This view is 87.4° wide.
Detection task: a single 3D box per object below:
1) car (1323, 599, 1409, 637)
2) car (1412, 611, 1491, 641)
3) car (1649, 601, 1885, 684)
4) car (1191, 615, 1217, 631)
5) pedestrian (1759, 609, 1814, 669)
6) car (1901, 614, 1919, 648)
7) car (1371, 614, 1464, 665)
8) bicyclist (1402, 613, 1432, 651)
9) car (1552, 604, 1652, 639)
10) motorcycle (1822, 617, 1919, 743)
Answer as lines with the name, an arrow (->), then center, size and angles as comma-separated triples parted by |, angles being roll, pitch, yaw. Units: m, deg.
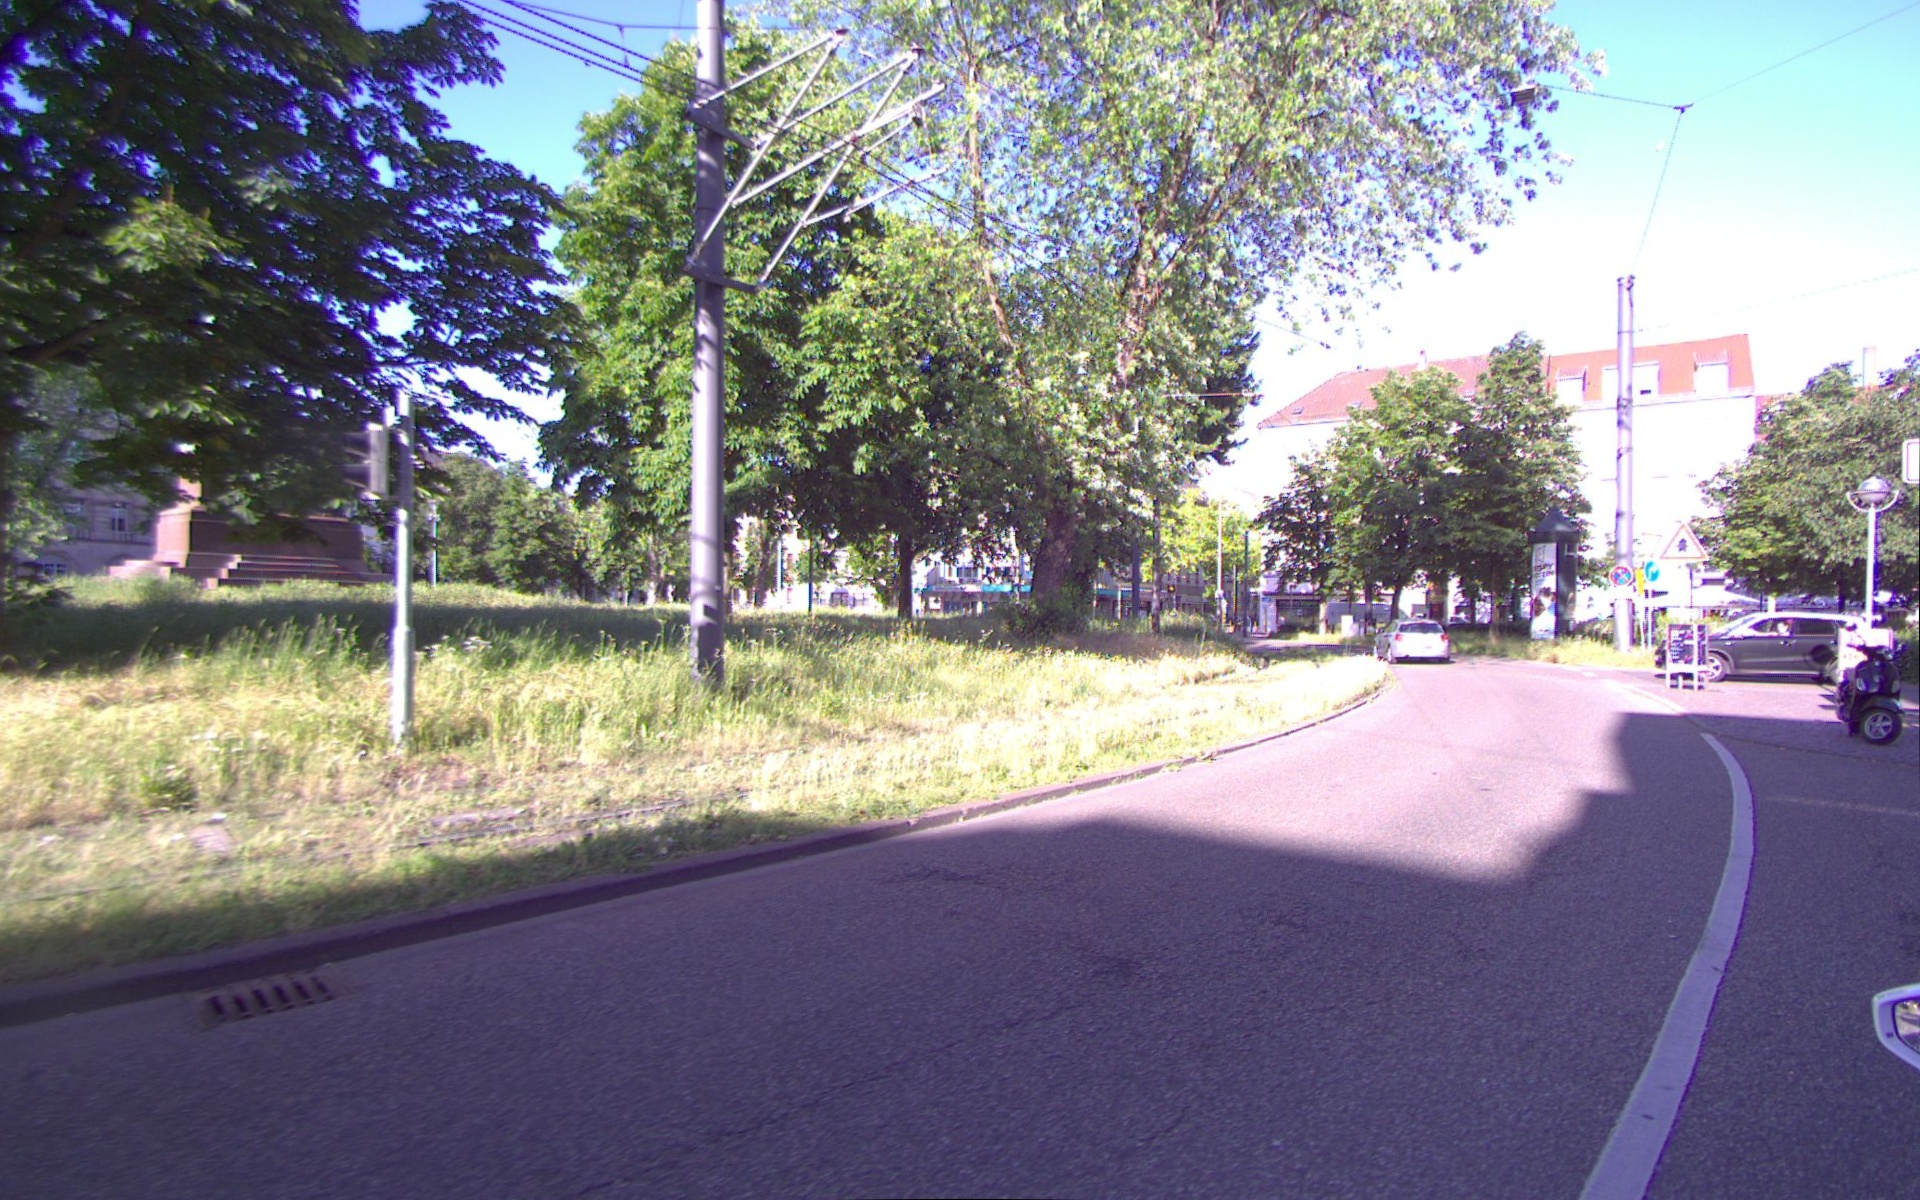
car -> 28.547, 1.235, 70.674 | 5.265, 2.345, 1.994 | 3, 0, 35
car -> 35.271, 1.841, 72.165 | 4.793, 1.828, 1.902 | 3, 0, 37
car -> 18.197, 0.919, 22.878 | 3.795, 1.704, 1.812 | 1, -1, 21
car -> 30.310, 2.879, 124.603 | 1.965, 1.807, 3.991 | 3, 1, 31
pedestrian -> 22.103, 1.033, 26.881 | 0.755, 1.542, 0.959 | 3, 0, 16
car -> 54.036, 1.782, 53.557 | 5.188, 1.824, 2.158 | 3, 0, 32
car -> 14.846, 1.246, 32.824 | 1.960, 1.442, 4.199 | 3, 0, 14
bicyclist -> 19.193, 1.324, 42.216 | 0.913, 1.527, 0.826 | 3, 0, 10
car -> 42.786, 1.412, 67.133 | 5.496, 2.040, 1.813 | 3, 0, 32
motorcycle -> 11.177, 0.934, 12.273 | 0.735, 1.392, 1.756 | 3, 0, 34
